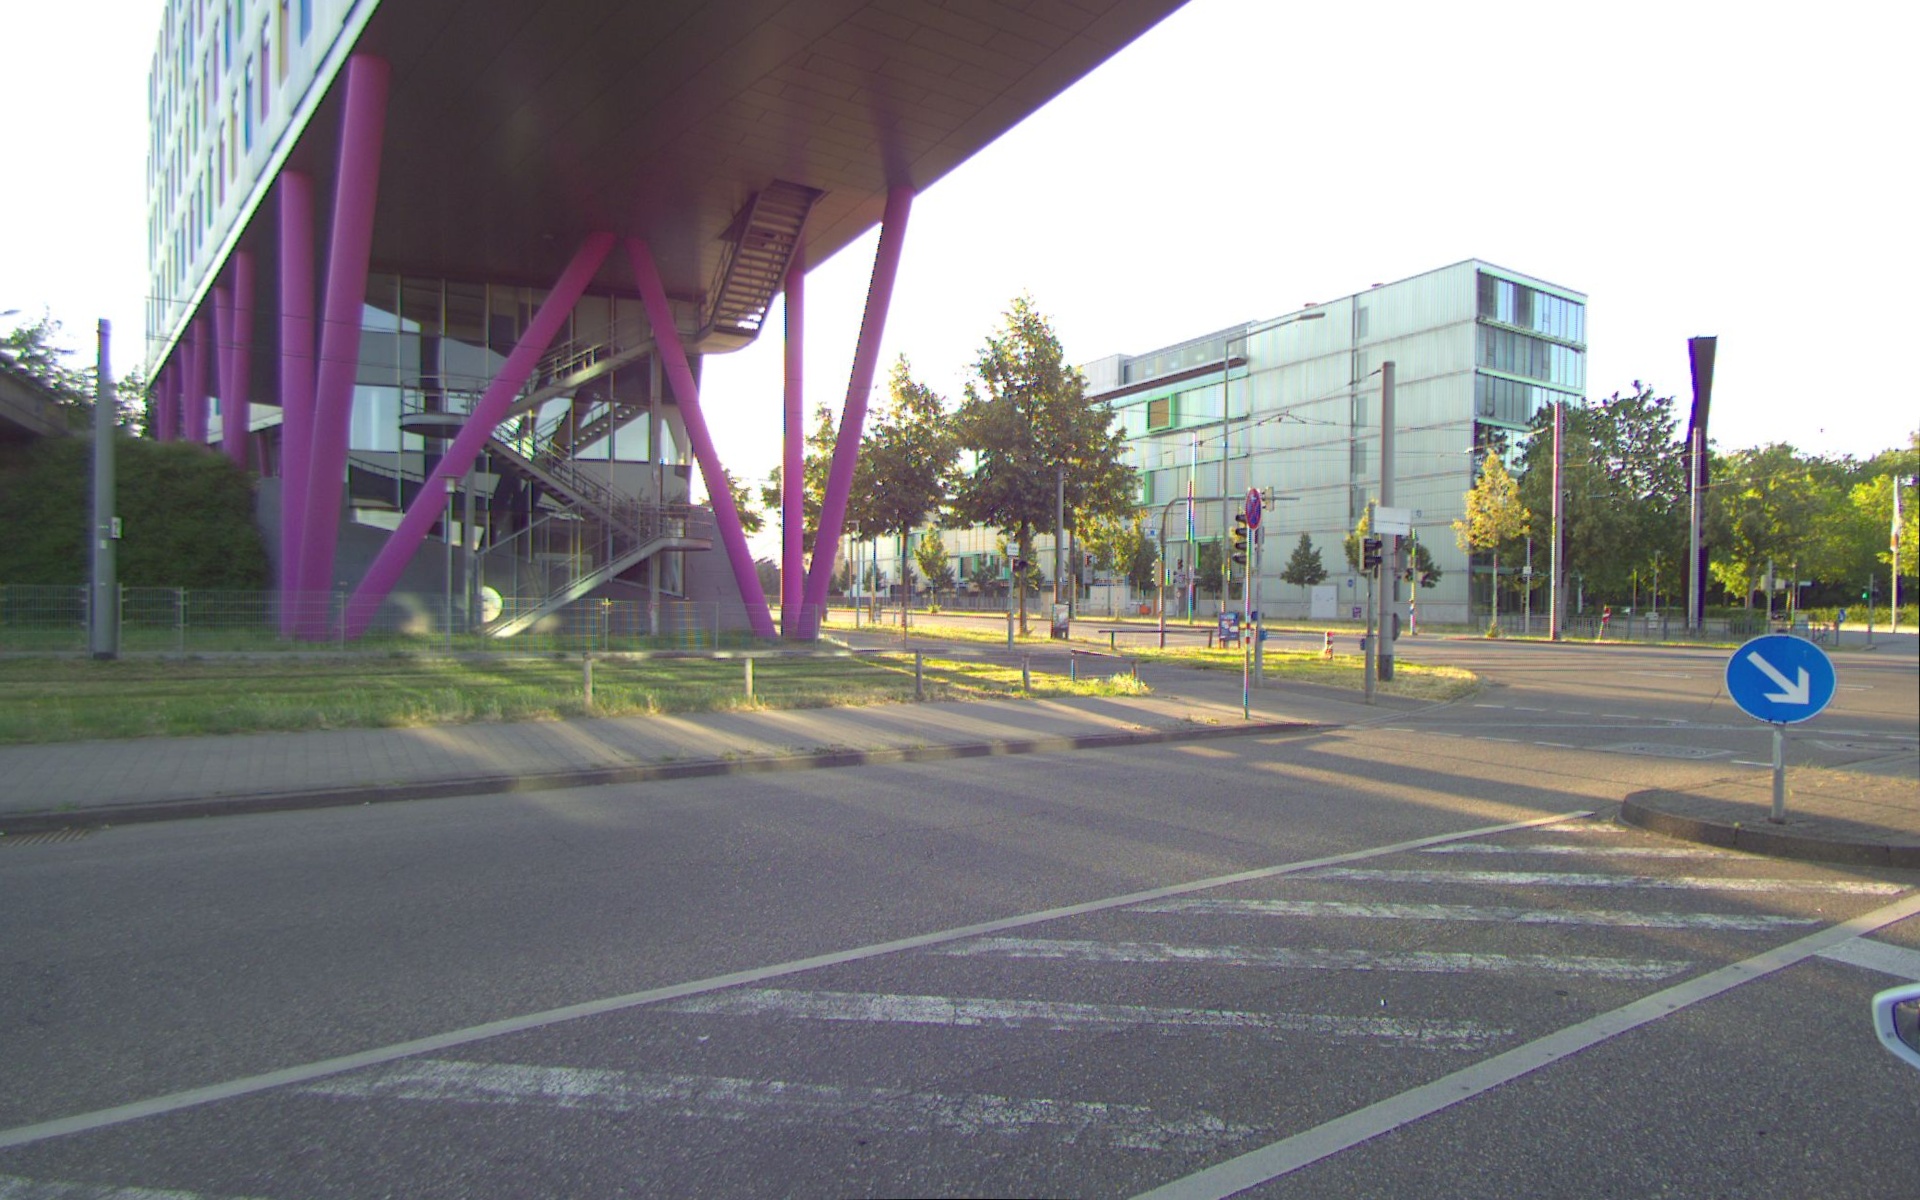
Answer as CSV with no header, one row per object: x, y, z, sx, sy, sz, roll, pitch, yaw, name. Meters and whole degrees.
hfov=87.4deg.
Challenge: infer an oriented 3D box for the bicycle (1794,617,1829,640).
43.855,1.477,51.722,2.367,1.151,0.695,1,0,-33,bicycle
